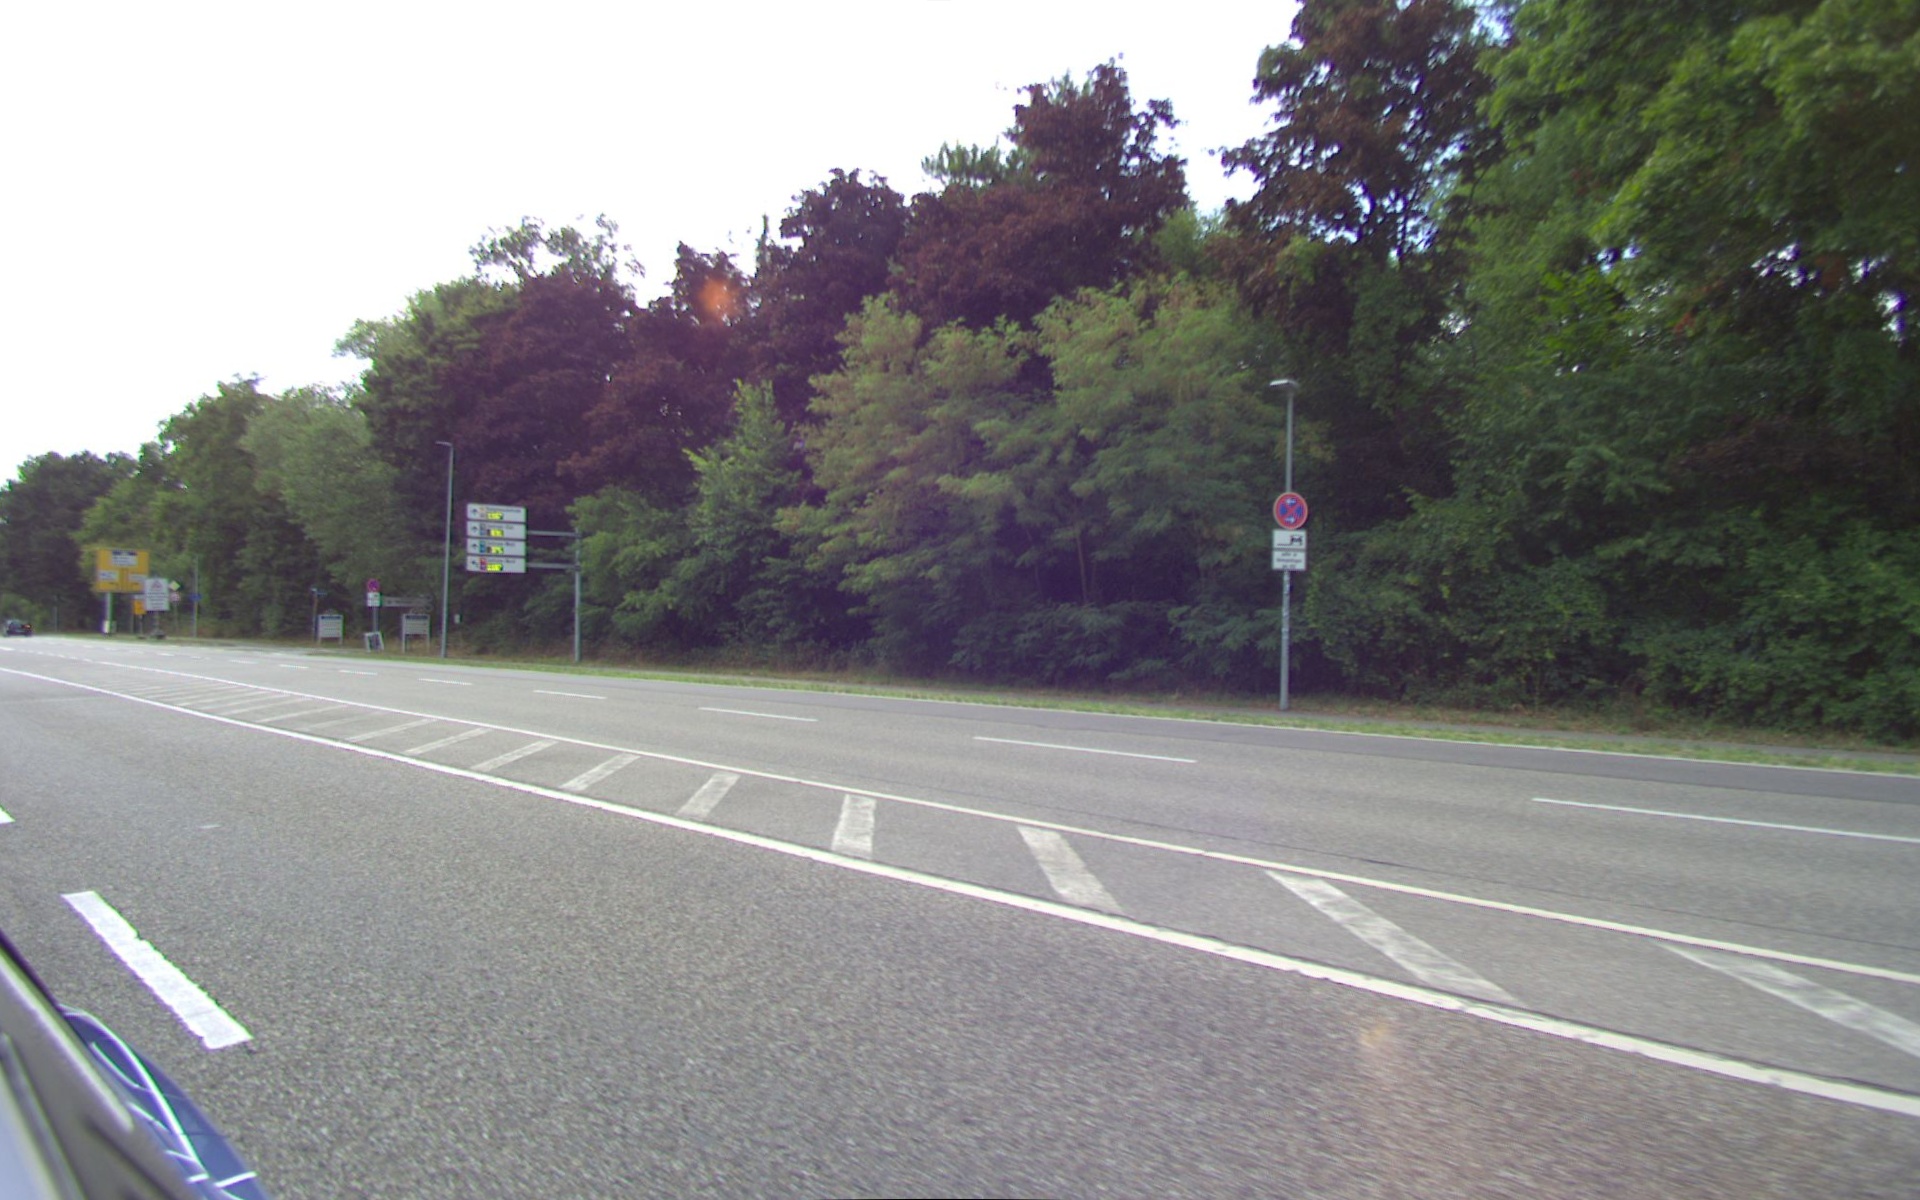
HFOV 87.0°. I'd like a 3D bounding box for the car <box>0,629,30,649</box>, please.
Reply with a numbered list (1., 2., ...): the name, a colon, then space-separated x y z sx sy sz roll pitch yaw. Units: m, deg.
1. car: -80.320 3.306 85.846 4.000 1.486 1.722 0 1 43
